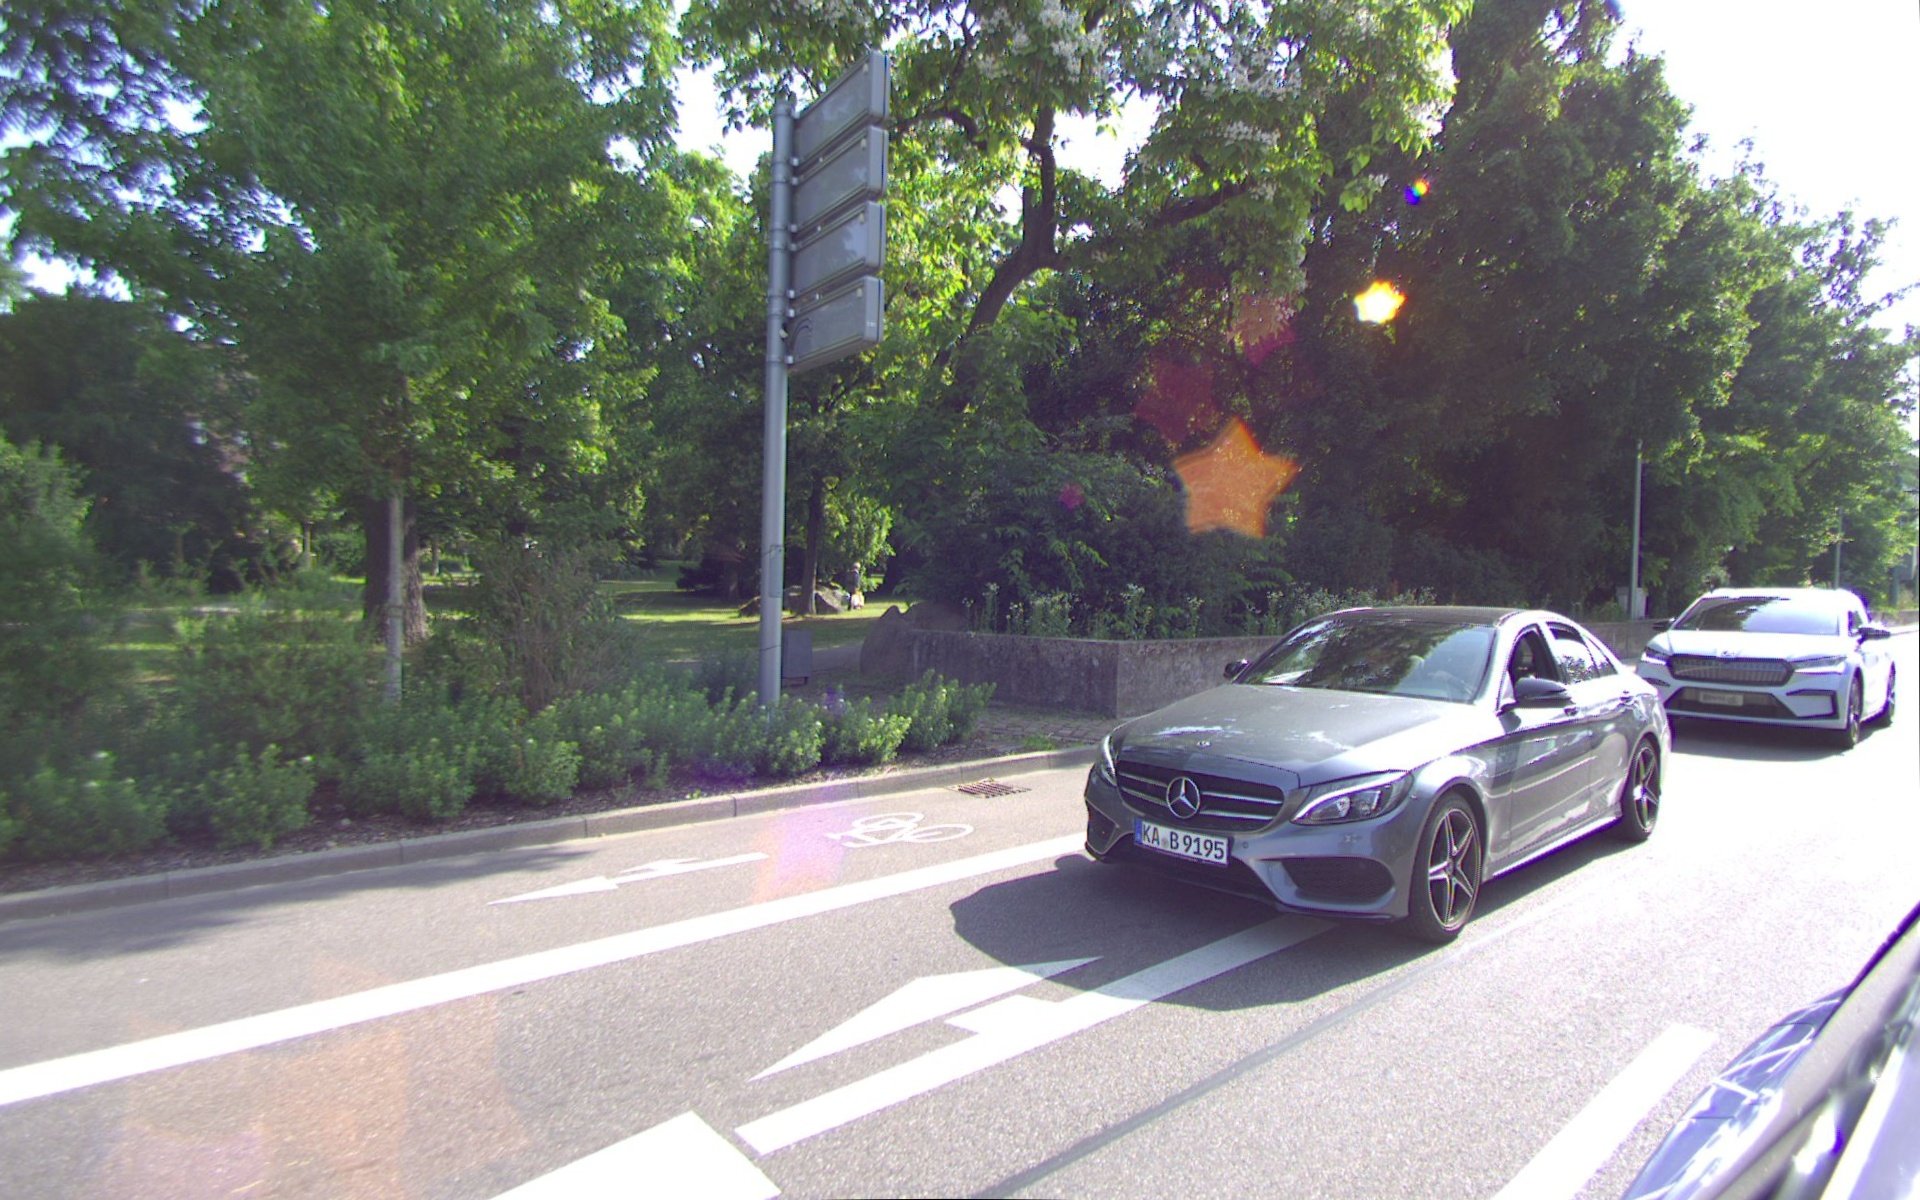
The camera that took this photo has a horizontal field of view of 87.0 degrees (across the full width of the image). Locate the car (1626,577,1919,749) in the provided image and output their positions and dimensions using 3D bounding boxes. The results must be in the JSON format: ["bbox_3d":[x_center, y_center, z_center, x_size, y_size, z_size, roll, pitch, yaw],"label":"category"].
[{"bbox_3d":[9.368,0.564,11.506,4.175,1.590,1.896,0,1,-40],"label":"car"}]

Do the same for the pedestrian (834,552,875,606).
[{"bbox_3d":[-3.713,-0.762,35.665,1.059,1.853,0.977,2,2,25],"label":"pedestrian"}]
